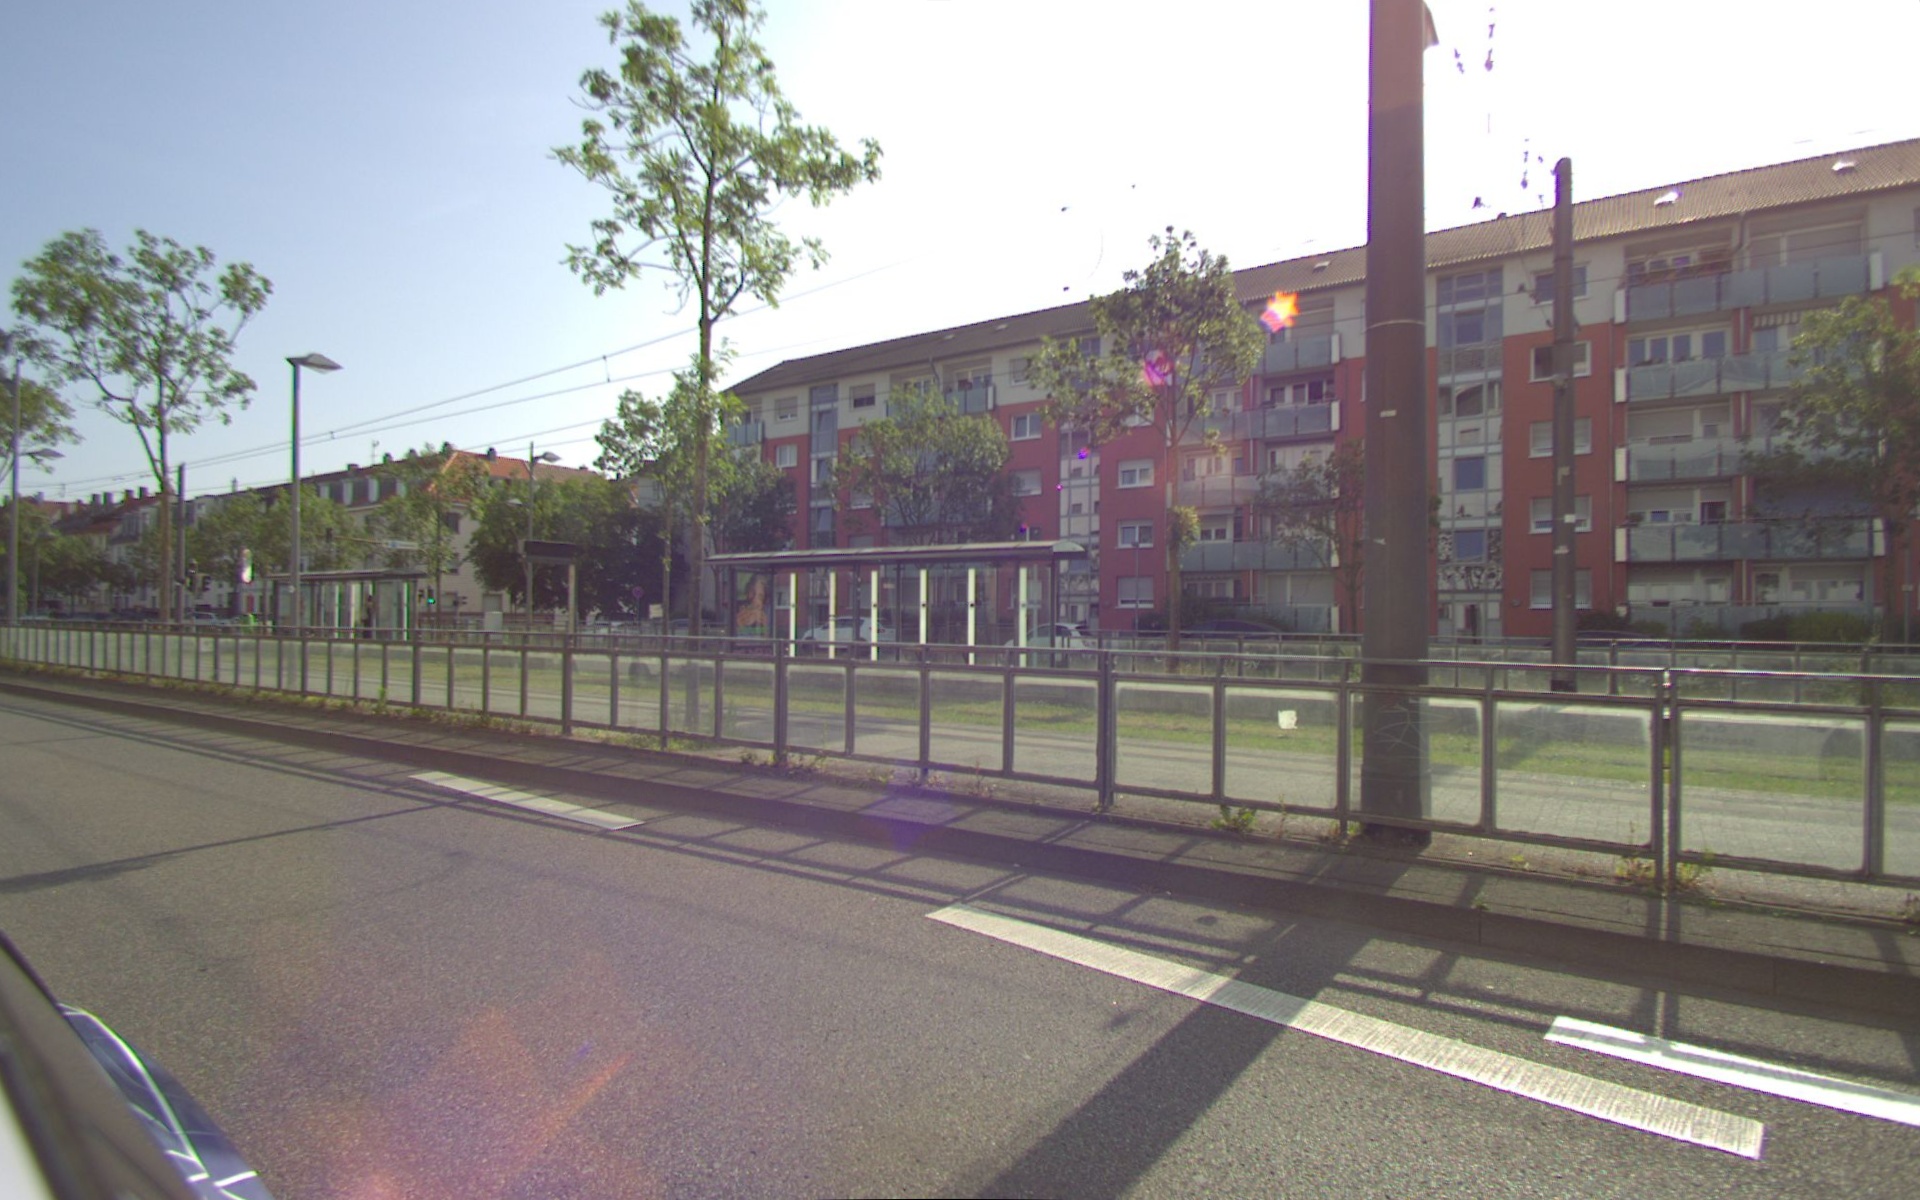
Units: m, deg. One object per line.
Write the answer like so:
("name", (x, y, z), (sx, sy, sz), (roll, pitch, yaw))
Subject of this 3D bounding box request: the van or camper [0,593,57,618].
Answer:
("van or camper", (-98.206, 0.617, 105.154), (6.056, 2.566, 2.421), (0, -1, -17))

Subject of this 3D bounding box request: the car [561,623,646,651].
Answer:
("car", (-17.262, 1.761, 48.983), (4.154, 1.156, 1.818), (0, 1, 35))

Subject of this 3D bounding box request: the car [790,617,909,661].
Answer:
("car", (-4.391, 1.492, 40.046), (4.526, 1.568, 1.964), (0, 1, 35))

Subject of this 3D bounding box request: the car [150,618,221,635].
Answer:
("car", (-58.780, 2.035, 76.898), (3.930, 1.268, 1.882), (1, -2, -22))

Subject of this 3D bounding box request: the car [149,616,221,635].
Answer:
("car", (-57.199, 1.838, 74.754), (3.930, 1.279, 1.893), (-1, 1, -25))

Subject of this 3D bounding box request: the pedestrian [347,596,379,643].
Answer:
("pedestrian", (-21.397, 0.701, 36.253), (0.792, 1.665, 0.666), (0, -1, 31))

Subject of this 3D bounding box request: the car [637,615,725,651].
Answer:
("car", (-12.670, 1.472, 45.936), (3.817, 1.482, 1.818), (0, 1, 35))

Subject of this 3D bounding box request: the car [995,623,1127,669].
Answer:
("car", (3.416, 1.511, 34.412), (4.059, 1.370, 1.964), (0, 1, 35))

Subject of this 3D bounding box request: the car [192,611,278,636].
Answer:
("car", (-49.273, 1.585, 68.898), (4.388, 1.526, 2.006), (0, 1, -18))

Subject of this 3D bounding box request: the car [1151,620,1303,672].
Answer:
("car", (8.104, 1.356, 30.813), (4.059, 1.370, 1.964), (0, 1, 35))

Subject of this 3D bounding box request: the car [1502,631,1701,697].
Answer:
("car", (15.967, 1.542, 25.320), (4.059, 1.370, 1.964), (0, 1, 35))

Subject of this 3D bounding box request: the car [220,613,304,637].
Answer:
("car", (-46.244, 1.645, 67.145), (4.277, 1.474, 1.970), (0, 1, -22))
